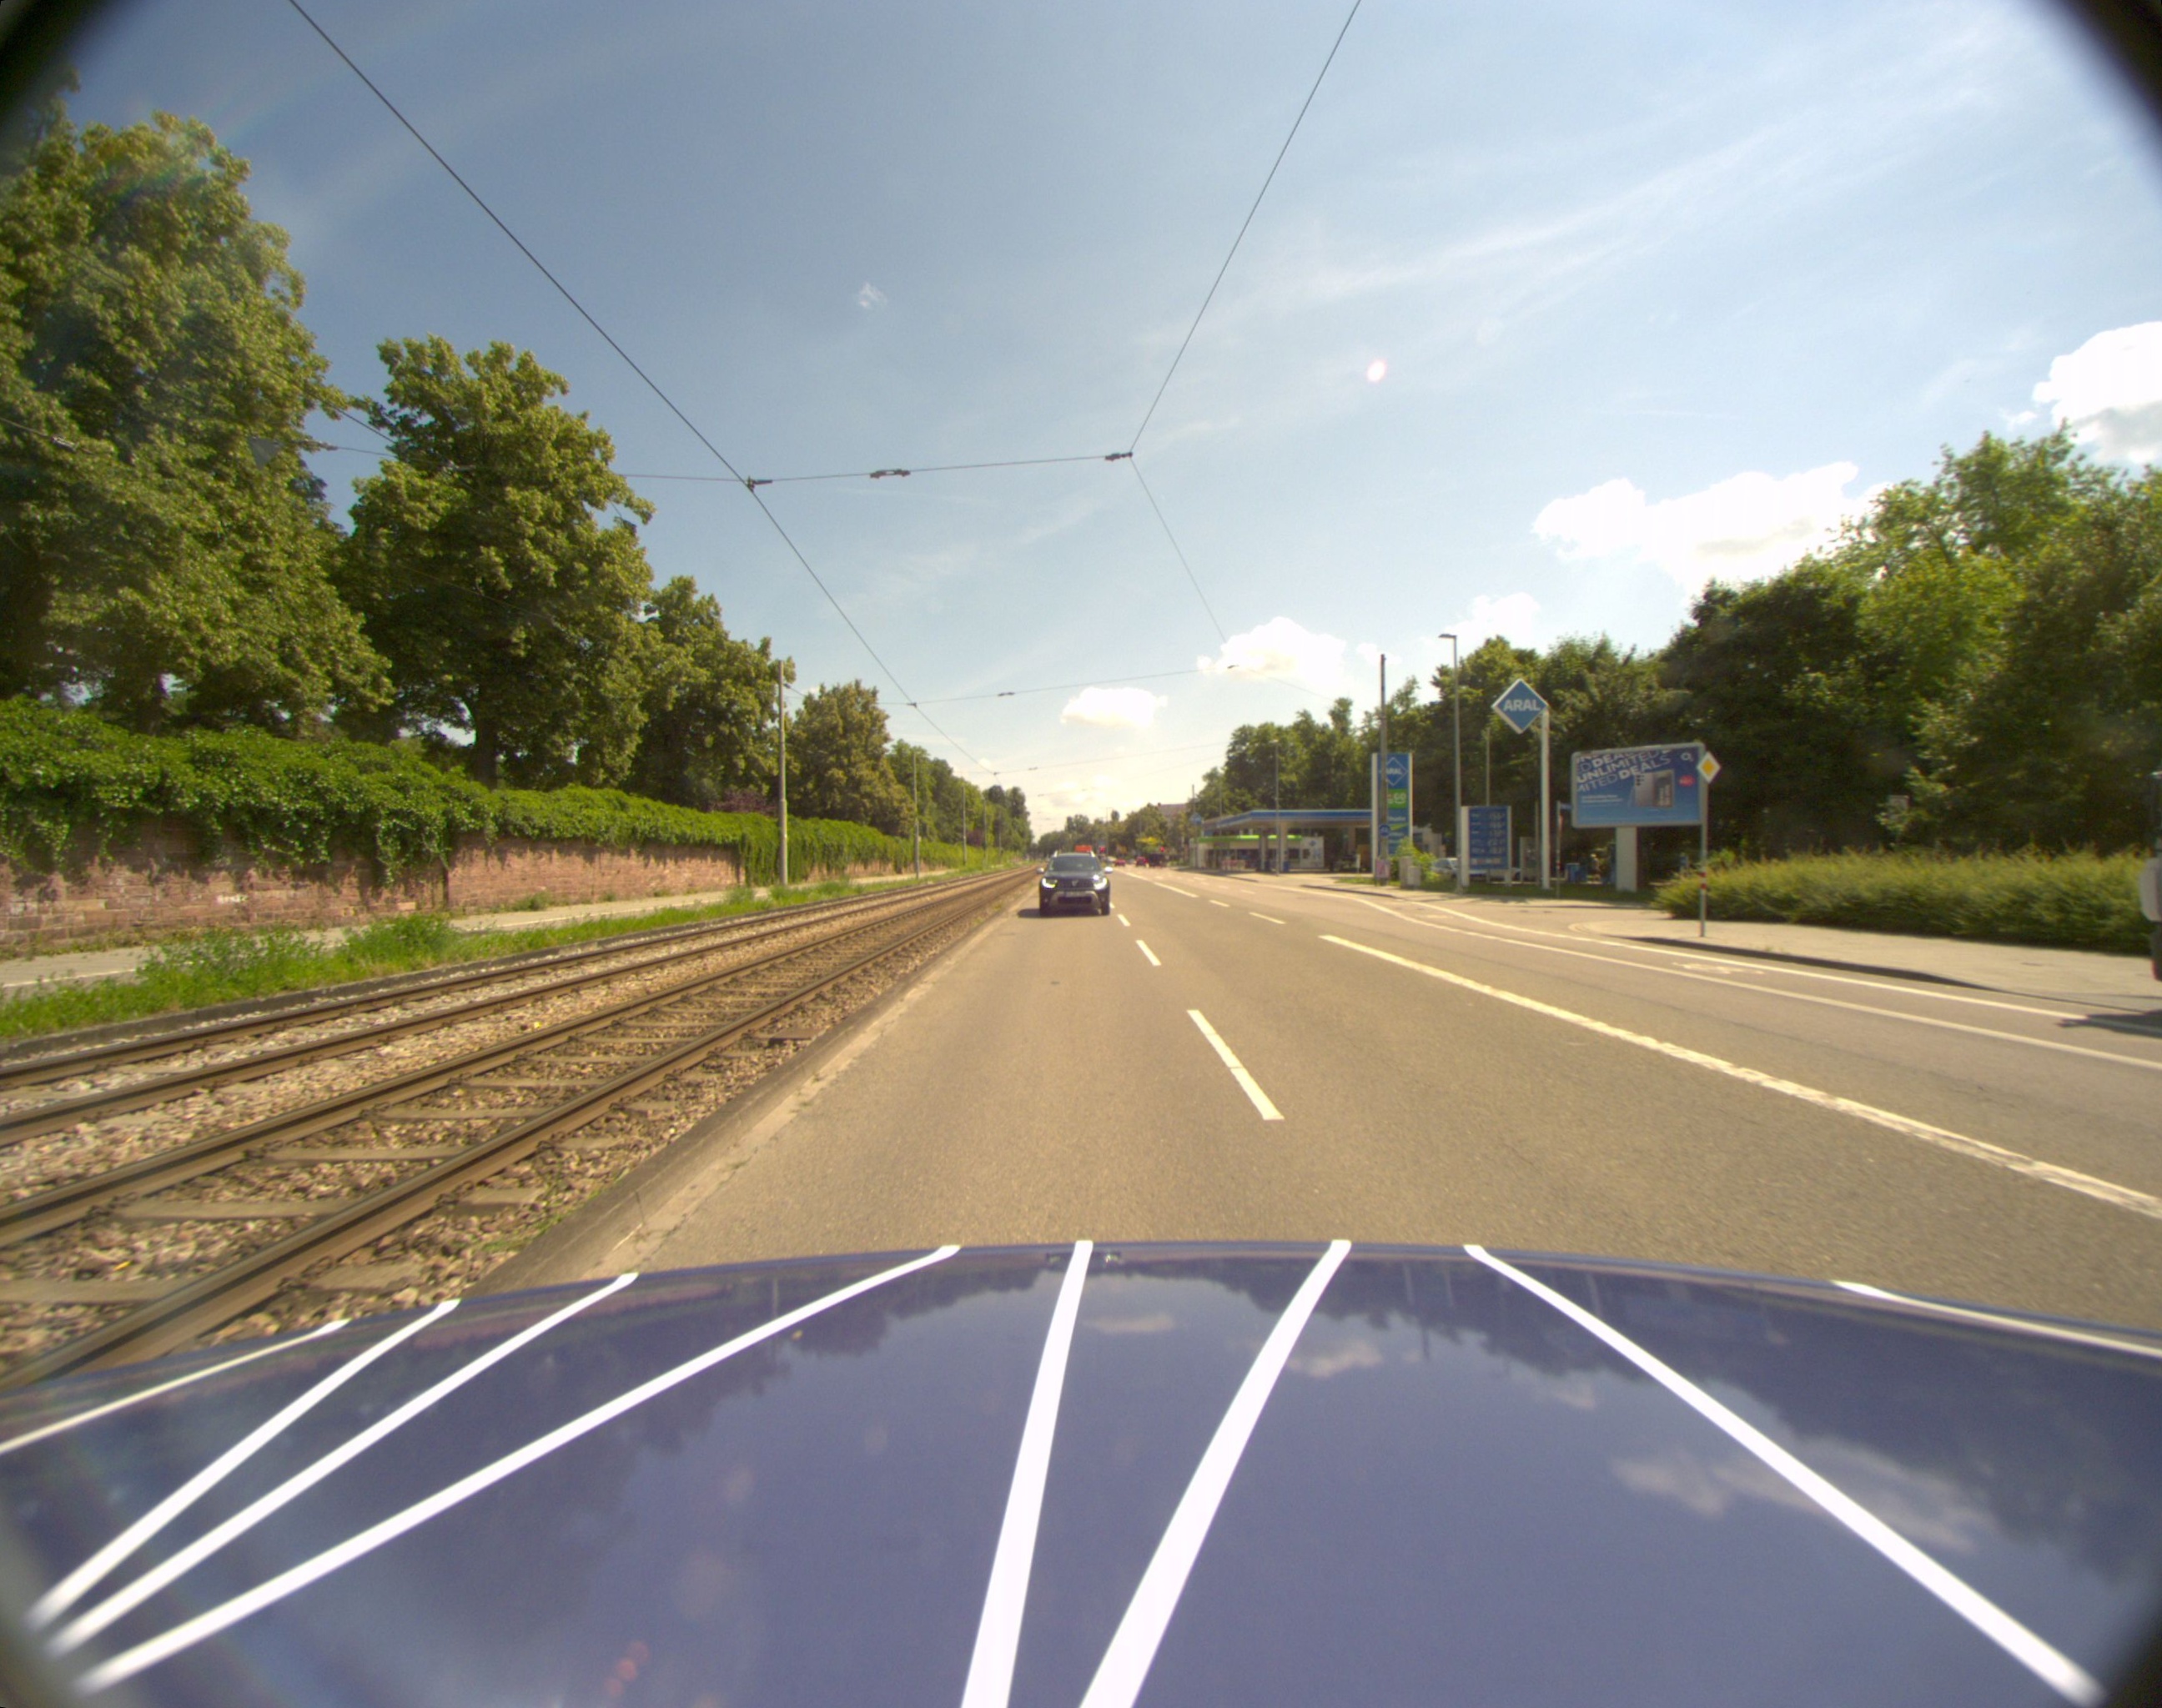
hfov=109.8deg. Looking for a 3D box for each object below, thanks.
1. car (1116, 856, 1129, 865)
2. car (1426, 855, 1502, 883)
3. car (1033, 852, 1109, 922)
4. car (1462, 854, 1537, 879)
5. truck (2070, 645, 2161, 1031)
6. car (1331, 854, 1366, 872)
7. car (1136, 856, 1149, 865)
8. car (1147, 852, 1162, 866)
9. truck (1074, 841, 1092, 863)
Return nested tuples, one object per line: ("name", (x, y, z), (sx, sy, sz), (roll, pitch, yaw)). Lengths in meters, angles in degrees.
("car", (6.568, 1.032, 121.725), (1.998, 1.379, 4.000), (0, 0, 2))
("car", (19.158, 0.699, 38.186), (1.818, 1.329, 4.000), (0, 0, 0))
("car", (-0.227, 0.802, 20.854), (1.801, 1.652, 4.788), (-1, 0, 0))
("car", (26.809, 0.769, 48.831), (3.991, 1.535, 1.822), (0, 0, 19))
("truck", (11.243, -0.209, 3.432), (2.838, 3.527, 8.170), (-3, 0, 0))
("car", (25.547, 0.798, 72.677), (1.848, 1.661, 3.999), (0, 0, -2))
("car", (9.908, 1.048, 122.737), (1.998, 1.379, 4.000), (0, 0, 2))
("car", (11.052, 0.707, 114.643), (1.998, 2.133, 4.000), (0, 0, 2))
("truck", (0.416, -0.385, 129.526), (2.845, 3.574, 8.705), (-1, 1, 1))
